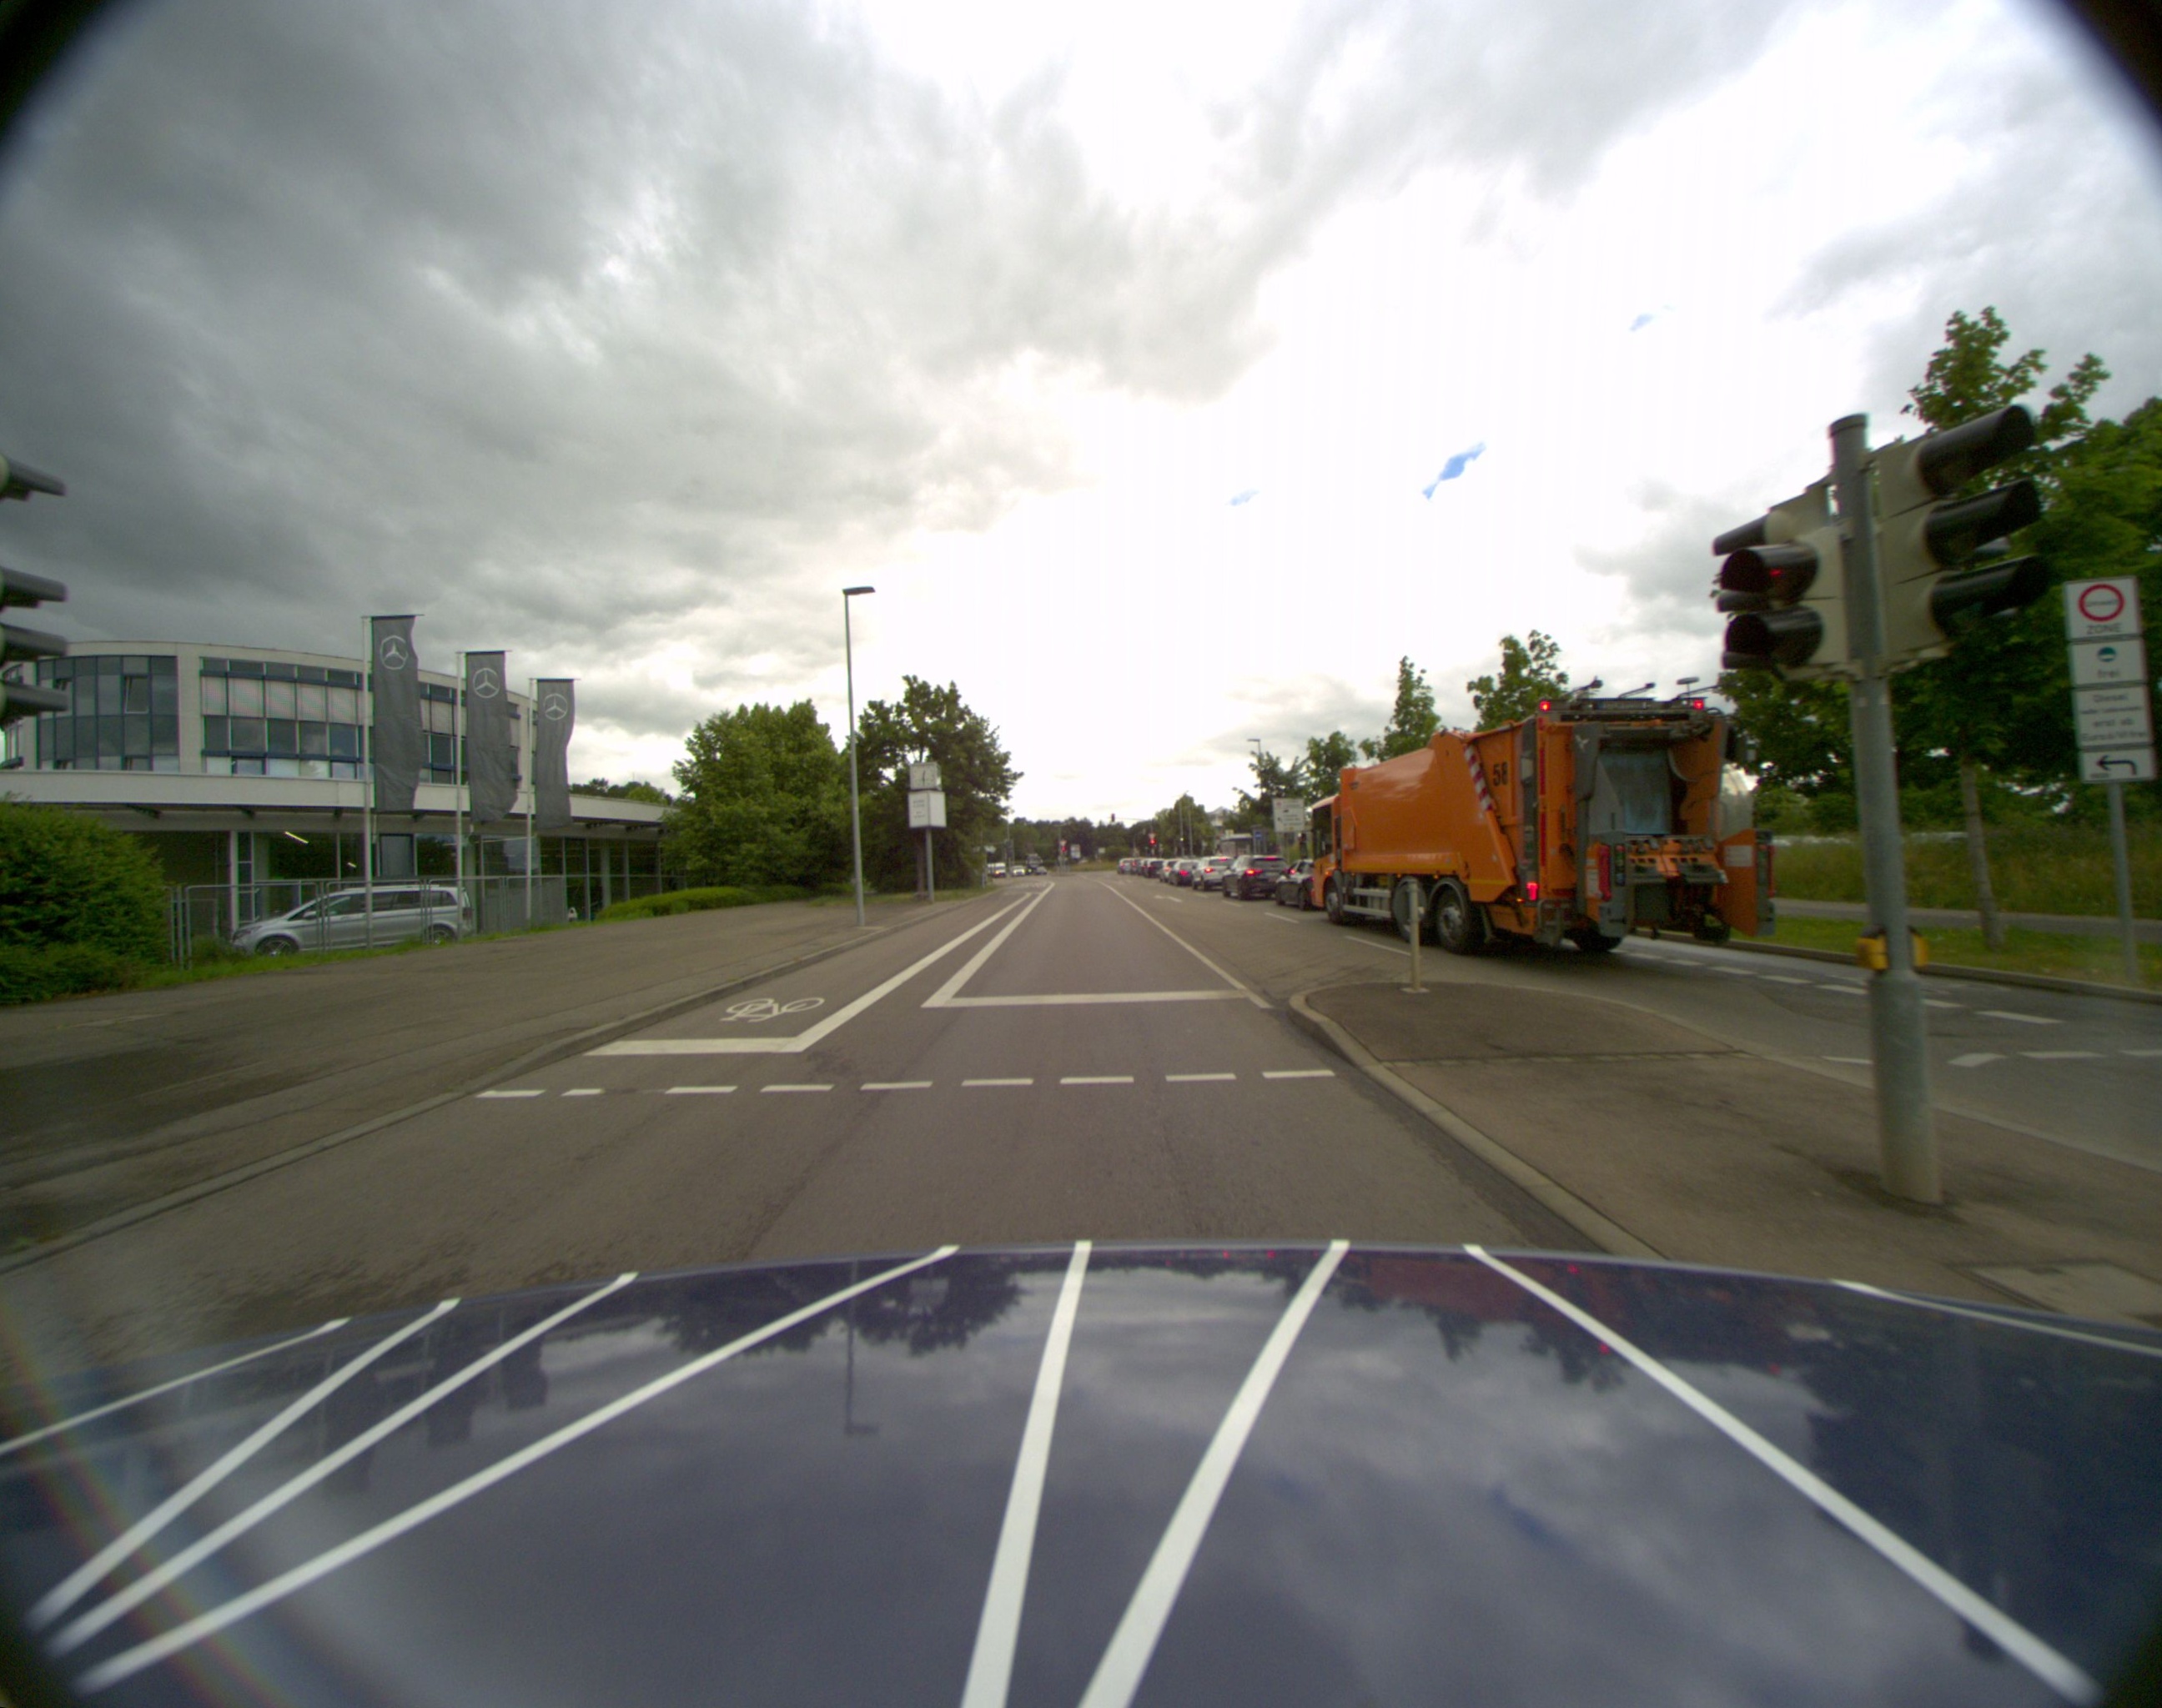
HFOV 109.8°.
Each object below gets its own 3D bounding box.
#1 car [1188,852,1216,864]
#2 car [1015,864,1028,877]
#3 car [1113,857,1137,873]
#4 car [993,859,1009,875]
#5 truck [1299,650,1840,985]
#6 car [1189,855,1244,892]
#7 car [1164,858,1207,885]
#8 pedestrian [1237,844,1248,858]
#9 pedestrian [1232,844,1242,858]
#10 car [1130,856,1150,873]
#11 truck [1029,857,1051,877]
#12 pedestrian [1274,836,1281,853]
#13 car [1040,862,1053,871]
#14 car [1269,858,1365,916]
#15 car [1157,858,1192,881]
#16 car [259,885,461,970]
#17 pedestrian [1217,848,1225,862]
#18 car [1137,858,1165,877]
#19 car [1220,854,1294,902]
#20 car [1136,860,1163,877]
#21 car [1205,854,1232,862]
[{"bbox_3d":[20.396,0.663,127.882,4.222,1.769,1.814,-3,-1,-8],"label":"car"},{"bbox_3d":[-10.697,2.948,136.704,2.120,1.979,4.987,-5,-1,-4],"label":"car"},{"bbox_3d":[4.475,1.113,78.079,1.832,1.526,4.218,-3,-1,-5],"label":"car"},{"bbox_3d":[-14.309,2.425,135.603,2.228,2.642,5.956,-4,-1,-12],"label":"car"},{"bbox_3d":[6.658,-0.325,13.120,2.713,3.466,9.995,-3,-1,0],"label":"truck"},{"bbox_3d":[6.366,0.924,36.115,1.735,1.576,4.223,-3,-1,-1],"label":"car"},{"bbox_3d":[5.838,0.964,43.057,1.644,1.382,4.885,-3,-1,-1],"label":"car"},{"bbox_3d":[15.685,-0.292,73.874,0.774,1.219,0.550,-3,-1,-9],"label":"pedestrian"},{"bbox_3d":[15.412,-0.297,75.182,0.774,1.322,0.550,-3,-1,-9],"label":"pedestrian"},{"bbox_3d":[5.563,0.991,71.519,1.432,1.517,2.774,-3,-1,-3],"label":"car"},{"bbox_3d":[-7.744,2.543,143.788,3.075,3.497,5.956,-4,-1,-12],"label":"truck"},{"bbox_3d":[20.104,-0.998,77.783,0.549,1.660,0.430,-4,-1,35],"label":"pedestrian"},{"bbox_3d":[-5.982,2.180,132.648,1.636,1.433,3.863,-3,-1,-11],"label":"car"},{"bbox_3d":[6.673,0.902,21.895,1.437,1.449,3.895,-3,-1,-1],"label":"car"},{"bbox_3d":[6.038,1.003,49.436,1.644,1.382,3.762,-3,-1,-1],"label":"car"},{"bbox_3d":[-20.484,2.000,21.864,4.007,2.013,1.995,-2,0,-40],"label":"car"},{"bbox_3d":[14.556,0.102,78.936,0.550,1.355,0.774,-3,-1,-9],"label":"pedestrian"},{"bbox_3d":[5.391,1.063,59.131,1.644,1.324,4.060,-3,-1,-1],"label":"car"},{"bbox_3d":[6.375,0.850,27.889,1.644,1.576,4.060,-3,-1,-1],"label":"car"},{"bbox_3d":[5.991,1.265,66.728,1.804,1.324,4.380,-3,-1,-2],"label":"car"},{"bbox_3d":[23.714,0.777,130.967,4.220,1.332,1.814,0,-1,-4],"label":"car"}]
